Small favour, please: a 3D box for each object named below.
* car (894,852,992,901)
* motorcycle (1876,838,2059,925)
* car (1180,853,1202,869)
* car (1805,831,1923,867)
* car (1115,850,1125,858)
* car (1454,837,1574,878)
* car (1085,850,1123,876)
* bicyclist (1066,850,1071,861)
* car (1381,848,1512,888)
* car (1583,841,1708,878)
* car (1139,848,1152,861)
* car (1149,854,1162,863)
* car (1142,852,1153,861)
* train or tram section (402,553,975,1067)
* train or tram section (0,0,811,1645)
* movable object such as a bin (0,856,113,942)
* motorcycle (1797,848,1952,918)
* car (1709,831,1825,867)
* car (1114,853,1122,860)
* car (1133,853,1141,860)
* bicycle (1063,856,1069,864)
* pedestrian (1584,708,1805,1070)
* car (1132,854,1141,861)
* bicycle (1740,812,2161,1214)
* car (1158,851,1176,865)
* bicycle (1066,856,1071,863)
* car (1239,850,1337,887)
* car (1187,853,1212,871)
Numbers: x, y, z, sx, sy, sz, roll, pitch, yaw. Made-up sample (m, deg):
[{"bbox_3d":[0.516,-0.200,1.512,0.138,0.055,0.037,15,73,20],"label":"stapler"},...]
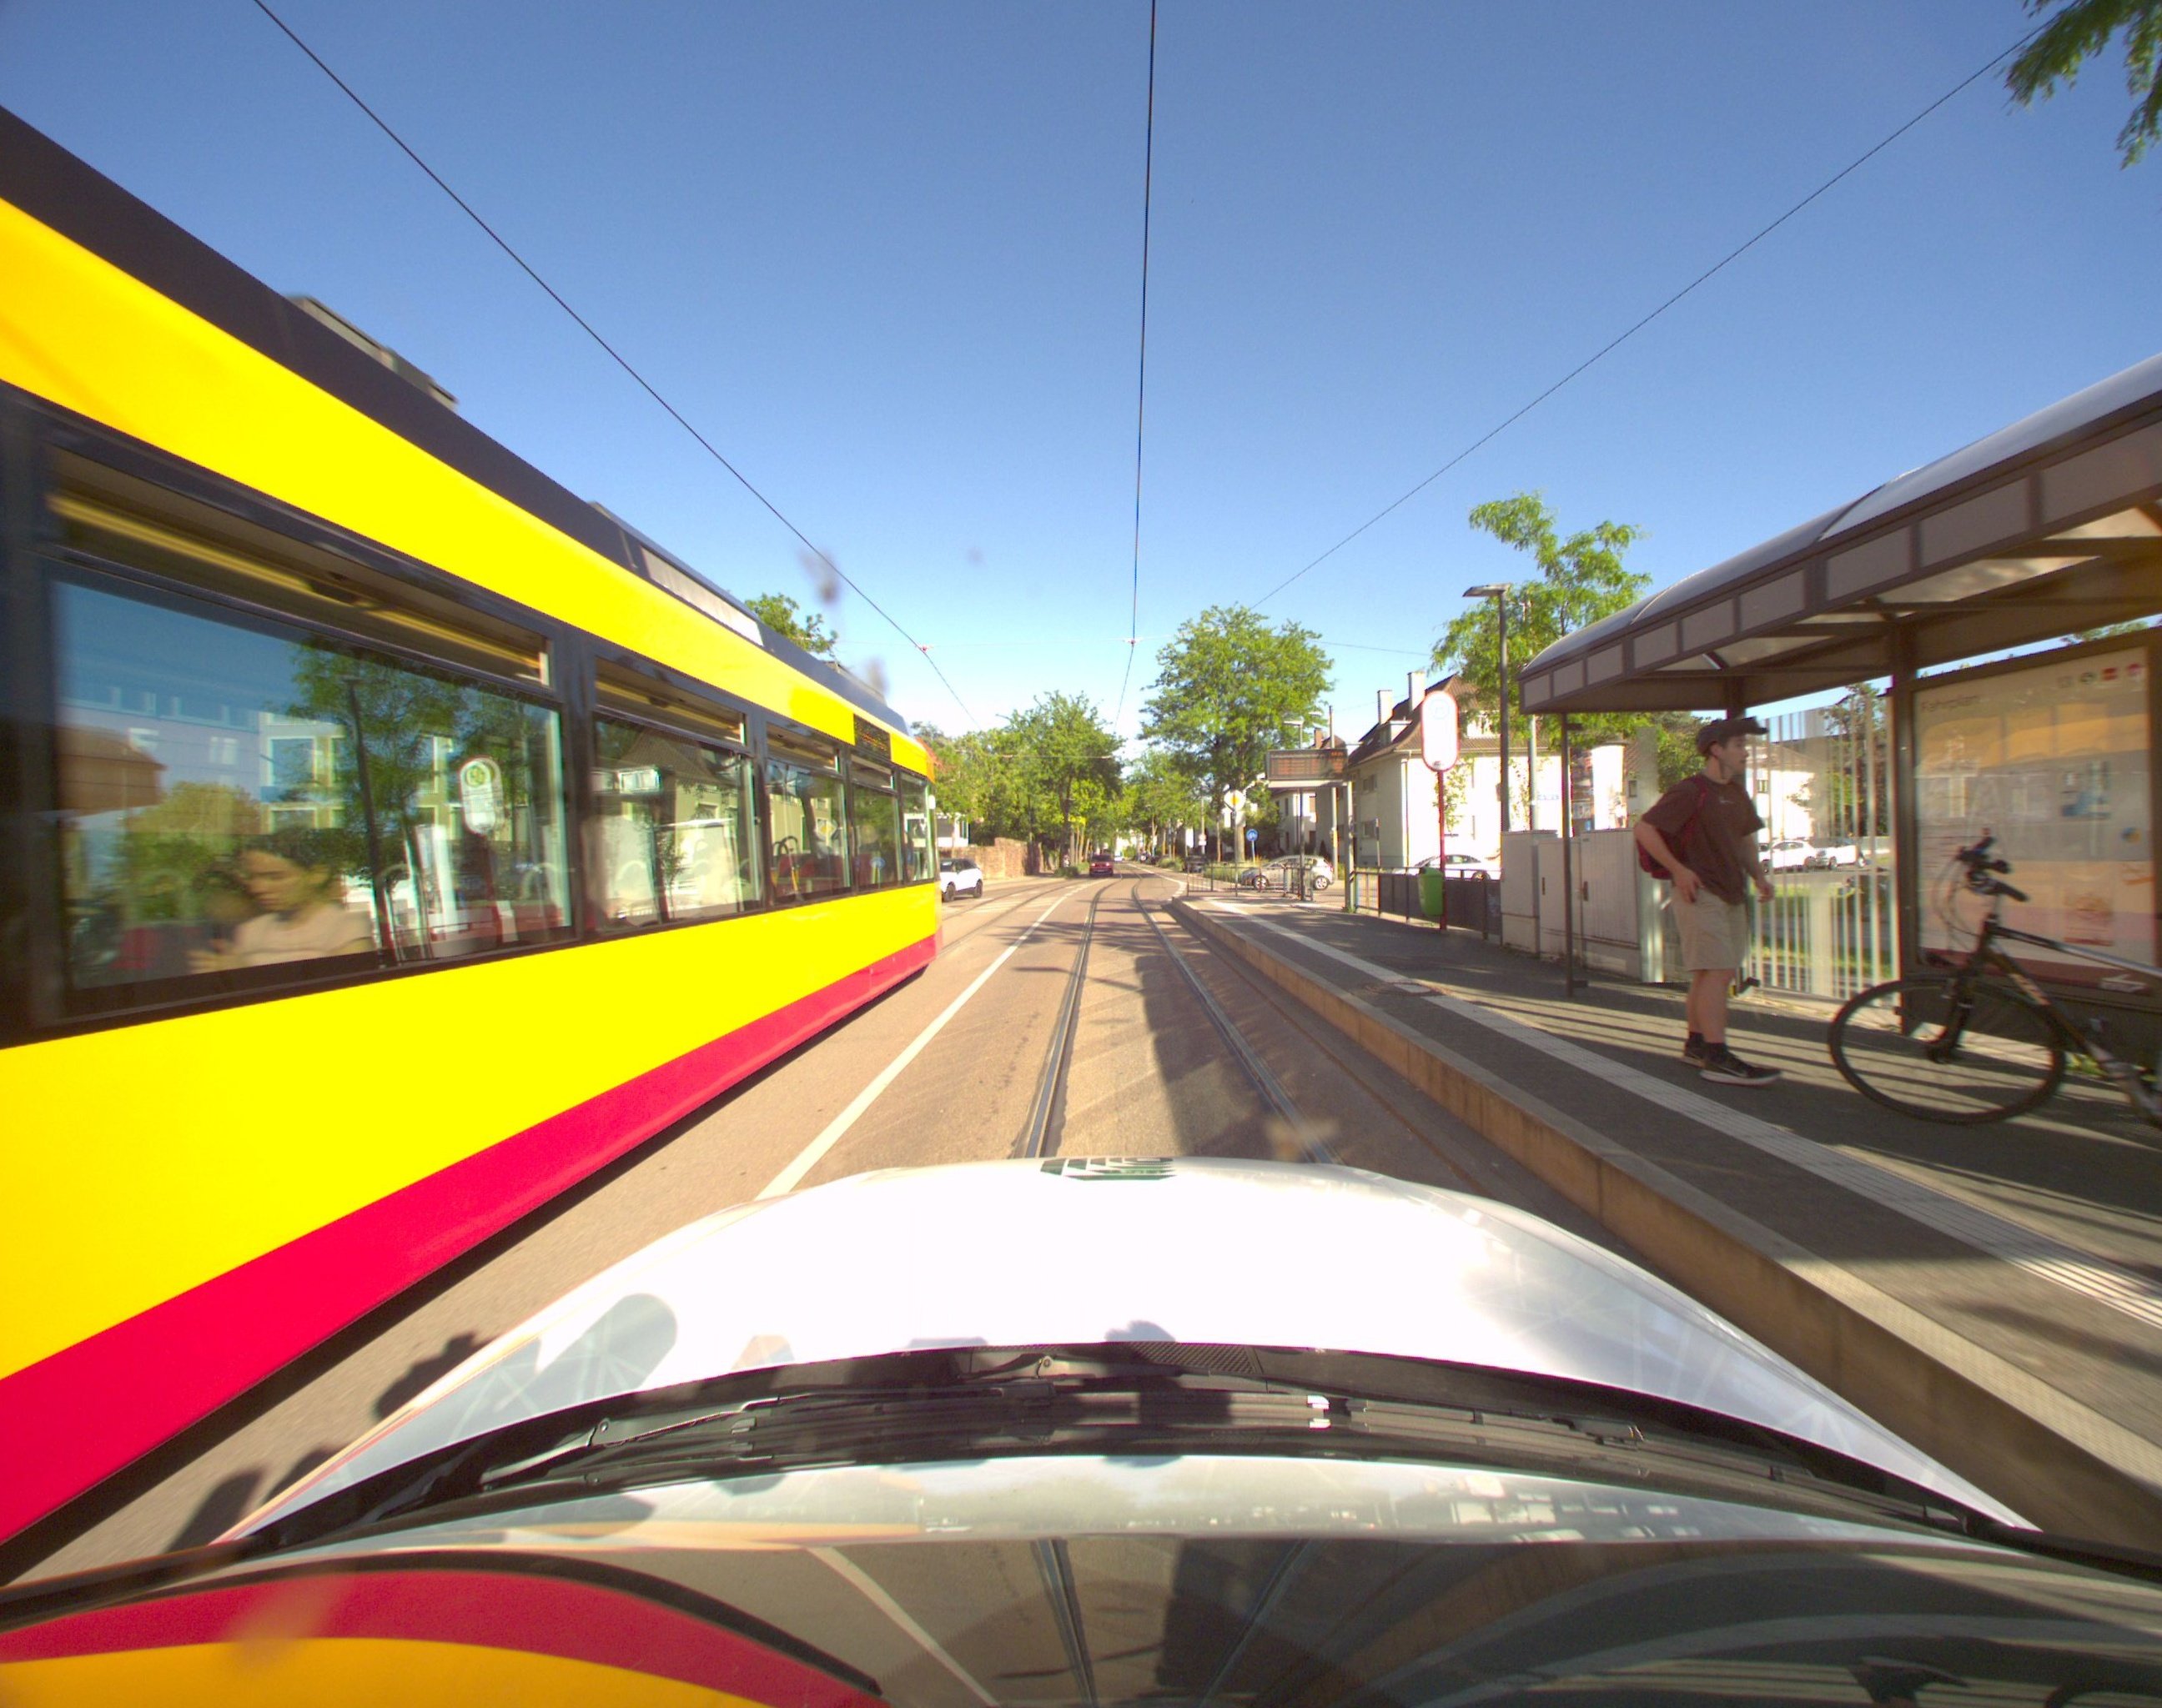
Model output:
[{"bbox_3d":[-5.062,0.780,30.502,1.750,1.663,4.230,-2,0,19],"label":"car"},{"bbox_3d":[14.028,0.423,12.919,2.074,1.274,0.860,-2,0,-5],"label":"motorcycle"},{"bbox_3d":[10.732,0.666,79.609,1.742,1.495,3.998,-2,0,2],"label":"car"},{"bbox_3d":[35.753,-0.221,37.238,3.988,1.574,1.993,0,0,-11],"label":"car"},{"bbox_3d":[11.926,-0.005,248.327,1.995,2.458,4.491,-2,0,-11],"label":"car"},{"bbox_3d":[18.699,0.139,35.268,4.149,1.642,1.982,-1,0,0],"label":"car"},{"bbox_3d":[1.934,0.700,66.882,1.979,1.966,4.953,-1,0,14],"label":"car"},{"bbox_3d":[-1.752,0.265,115.444,0.591,1.527,1.062,-2,0,2],"label":"bicyclist"},{"bbox_3d":[14.772,0.581,33.215,4.571,1.466,1.989,-2,-2,13],"label":"car"},{"bbox_3d":[24.604,0.239,35.586,4.154,1.508,1.979,-1,0,-4],"label":"car"},{"bbox_3d":[13.480,0.146,170.143,2.237,2.654,5.587,-1,0,1],"label":"car"},{"bbox_3d":[12.696,0.725,138.912,1.778,1.448,4.300,-4,0,0],"label":"car"},{"bbox_3d":[12.075,0.483,148.407,1.621,1.397,3.646,-4,0,1],"label":"car"},{"bbox_3d":[-3.115,-0.298,8.880,2.793,3.459,6.671,-1,0,2],"label":"train or tram section"},{"bbox_3d":[-3.357,-0.276,2.188,2.793,3.459,6.671,-1,0,2],"label":"train or tram section"},{"bbox_3d":[-18.275,0.766,14.326,0.878,1.447,1.309,-2,0,1],"label":"movable object such as a bin"},{"bbox_3d":[14.072,0.495,14.475,1.995,1.158,0.860,-2,0,-5],"label":"motorcycle"},{"bbox_3d":[30.671,-0.213,36.437,4.171,1.508,1.971,-1,0,-16],"label":"car"},{"bbox_3d":[9.241,0.702,203.247,1.858,1.675,4.177,-2,0,4],"label":"car"},{"bbox_3d":[15.076,0.735,219.708,1.993,1.675,4.399,-3,0,5],"label":"car"},{"bbox_3d":[-2.048,0.801,111.344,0.708,0.960,2.096,-2,0,3],"label":"bicycle"},{"bbox_3d":[3.375,0.178,4.549,0.708,1.853,0.730,0,0,3],"label":"pedestrian"},{"bbox_3d":[13.727,0.890,202.179,1.995,1.675,4.393,-3,0,1],"label":"car"},{"bbox_3d":[3.590,0.485,3.036,0.618,1.229,1.965,0,0,-2],"label":"bicycle"},{"bbox_3d":[11.801,0.560,112.532,1.987,1.704,4.478,-4,0,1],"label":"car"},{"bbox_3d":[-1.747,0.720,115.369,0.587,0.960,2.133,-2,0,3],"label":"bicycle"},{"bbox_3d":[8.822,0.620,35.009,3.961,1.508,1.988,-1,0,11],"label":"car"},{"bbox_3d":[10.700,0.678,73.882,1.742,1.495,4.445,-2,0,2],"label":"car"}]
